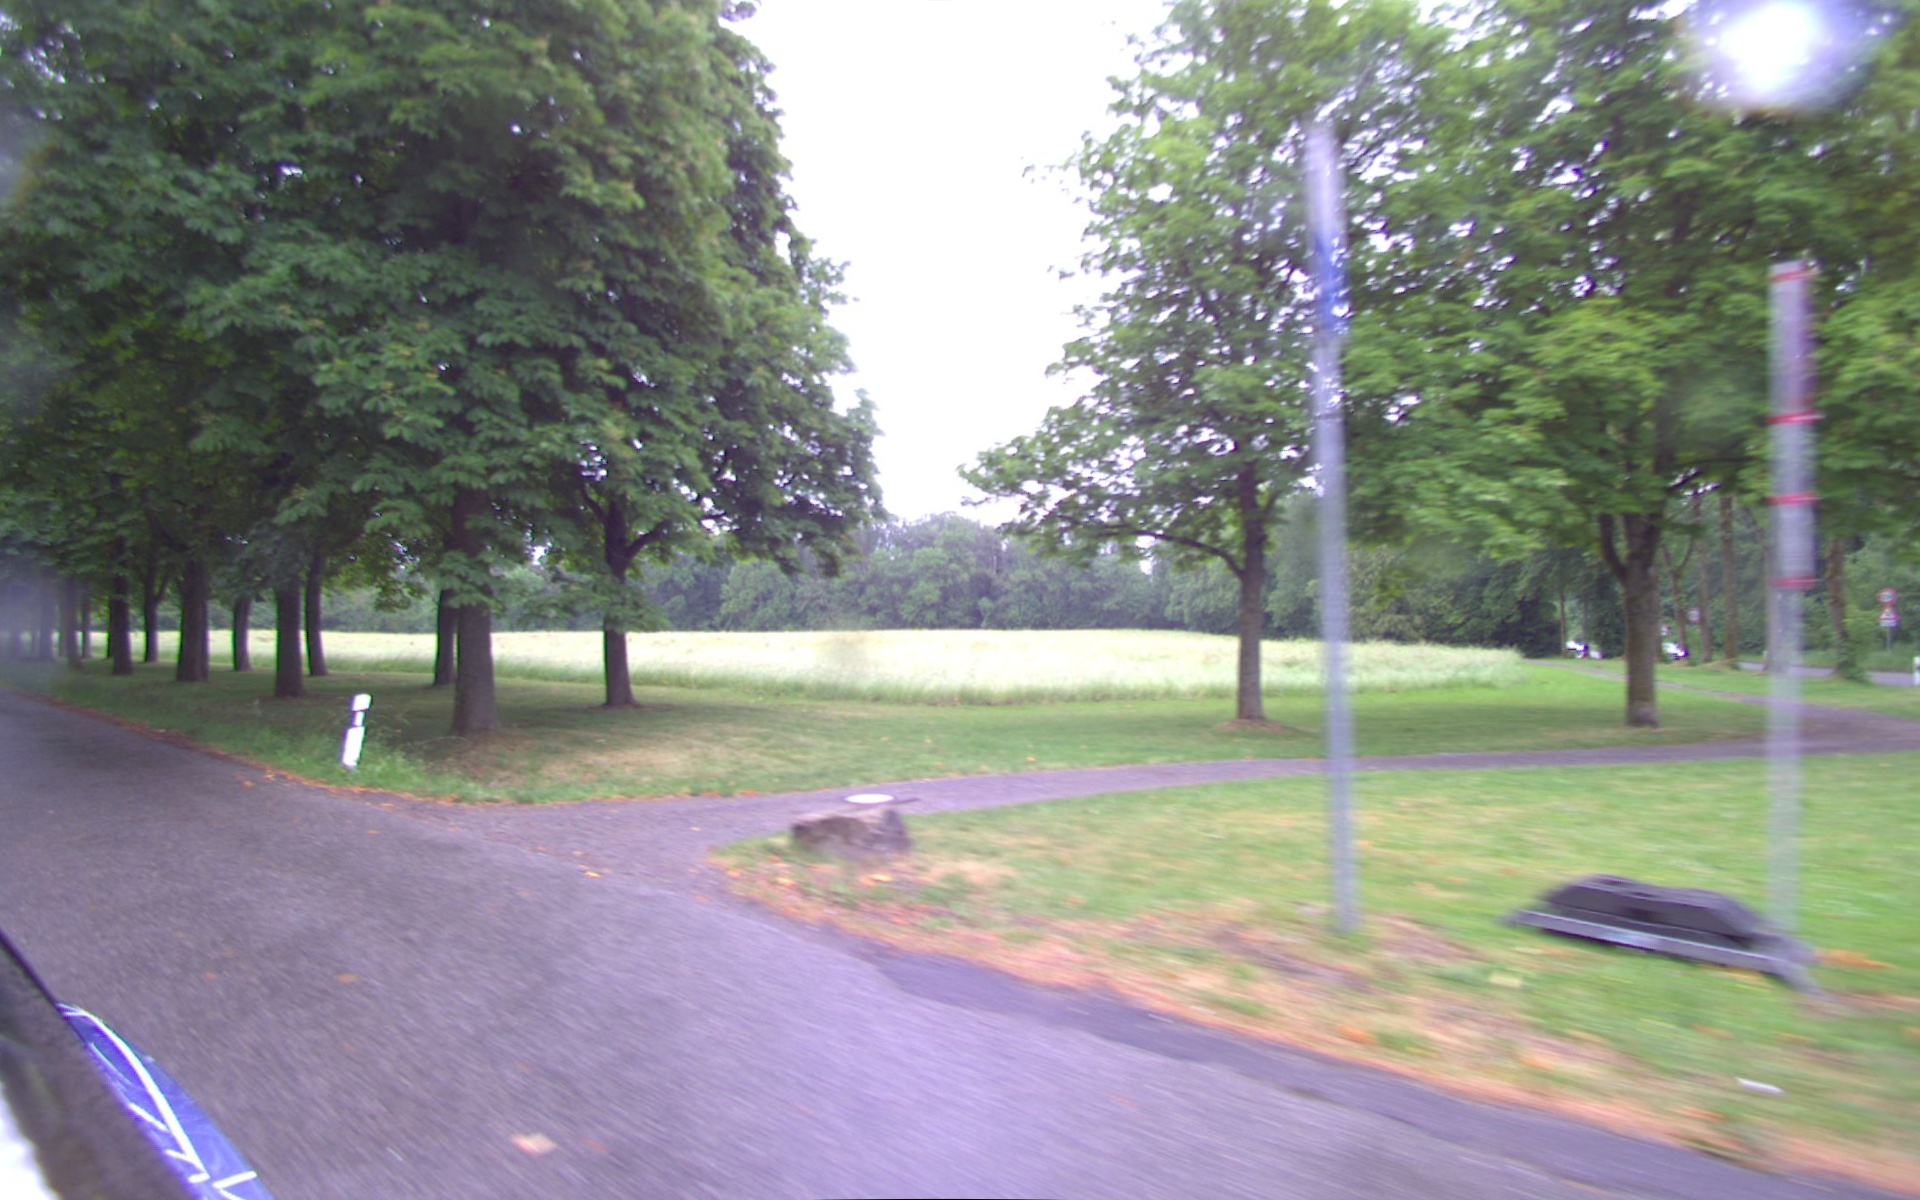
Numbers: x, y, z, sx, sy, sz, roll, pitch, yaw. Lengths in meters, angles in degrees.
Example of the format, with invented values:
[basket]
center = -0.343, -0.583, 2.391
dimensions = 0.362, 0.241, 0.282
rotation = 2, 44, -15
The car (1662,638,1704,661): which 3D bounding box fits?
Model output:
[car]
center = 51.523, 3.495, 72.203
dimensions = 1.722, 1.494, 4.140
rotation = -1, -2, 26
